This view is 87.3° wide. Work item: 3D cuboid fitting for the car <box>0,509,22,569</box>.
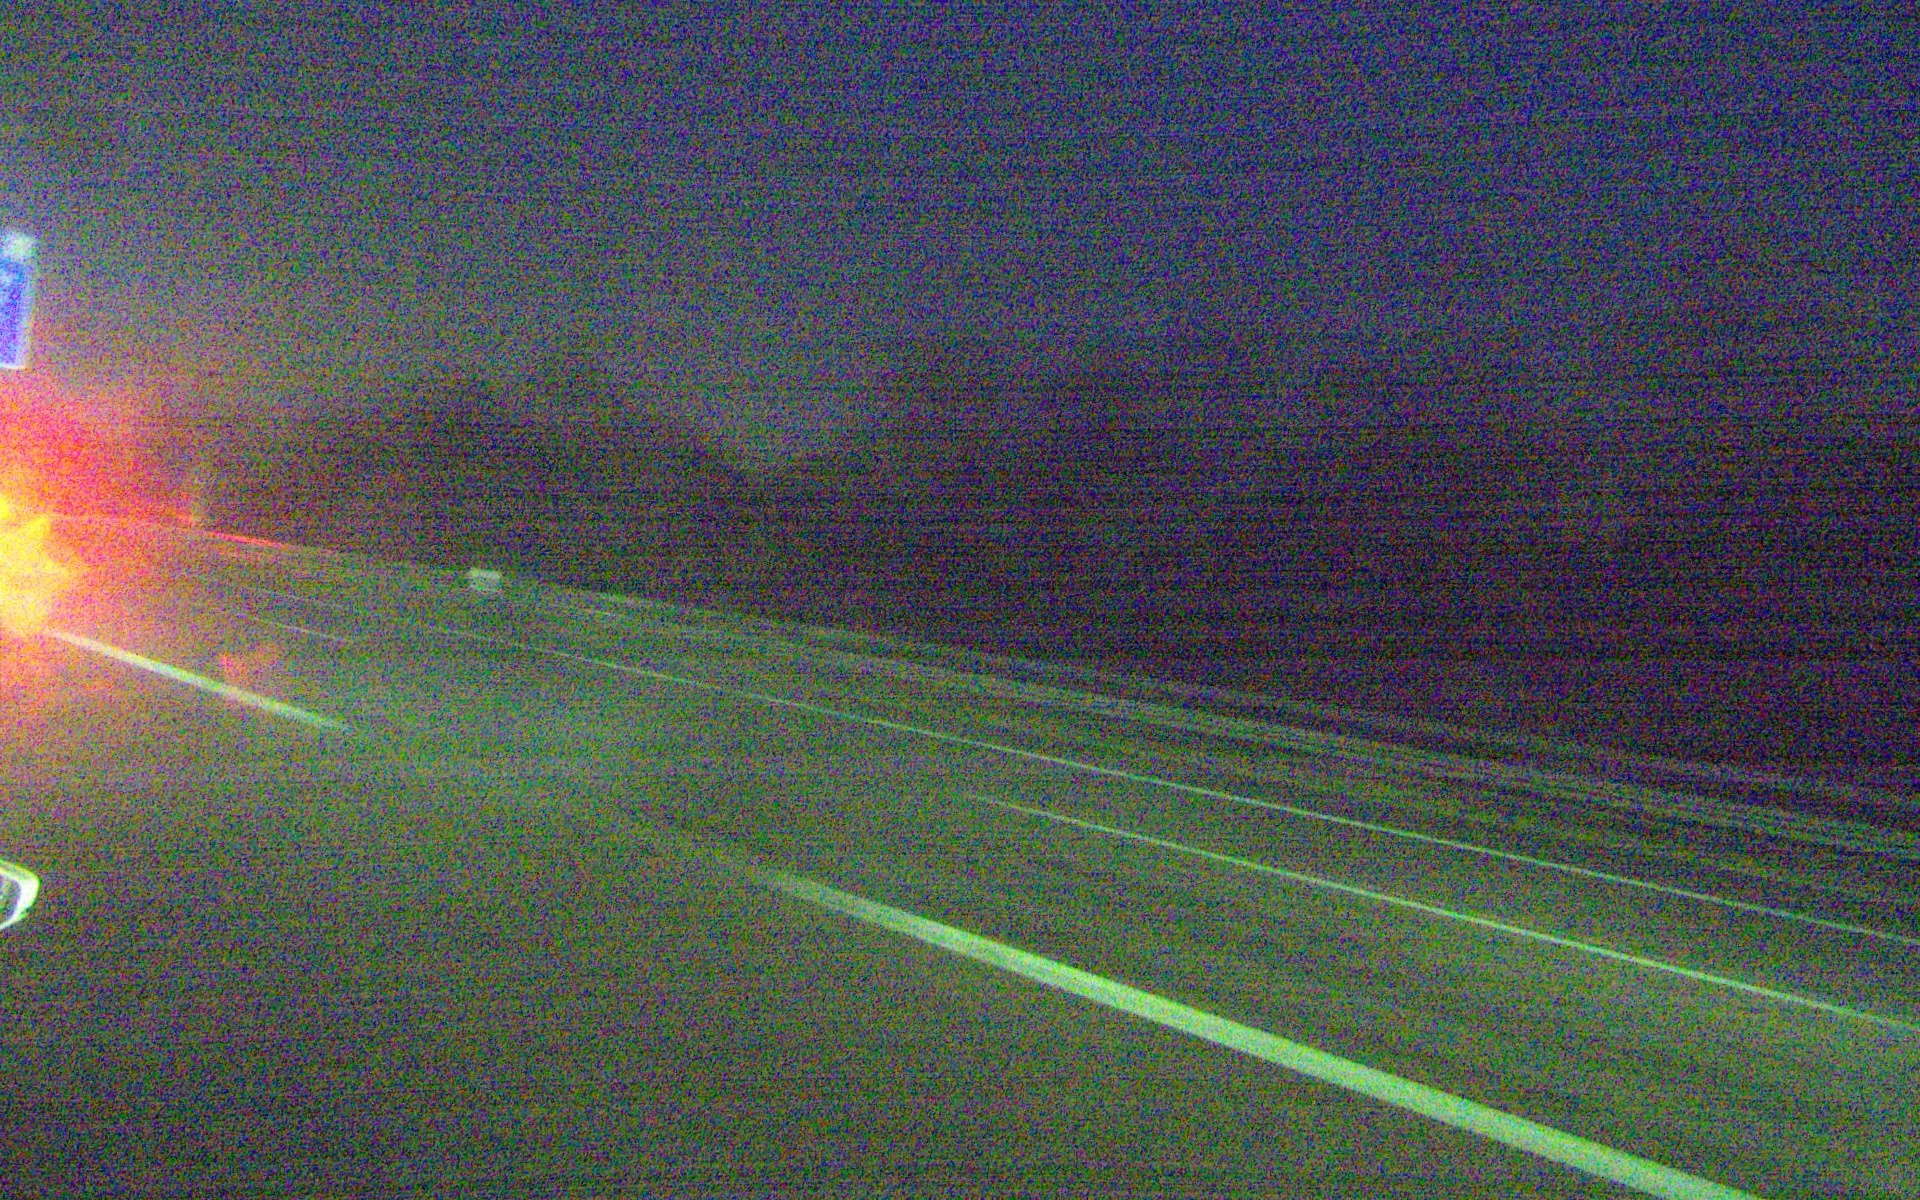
[{"bbox_3d":[-22.247,-1.520,21.994,3.016,1.260,1.585,7,-1,29],"label":"car"}]
